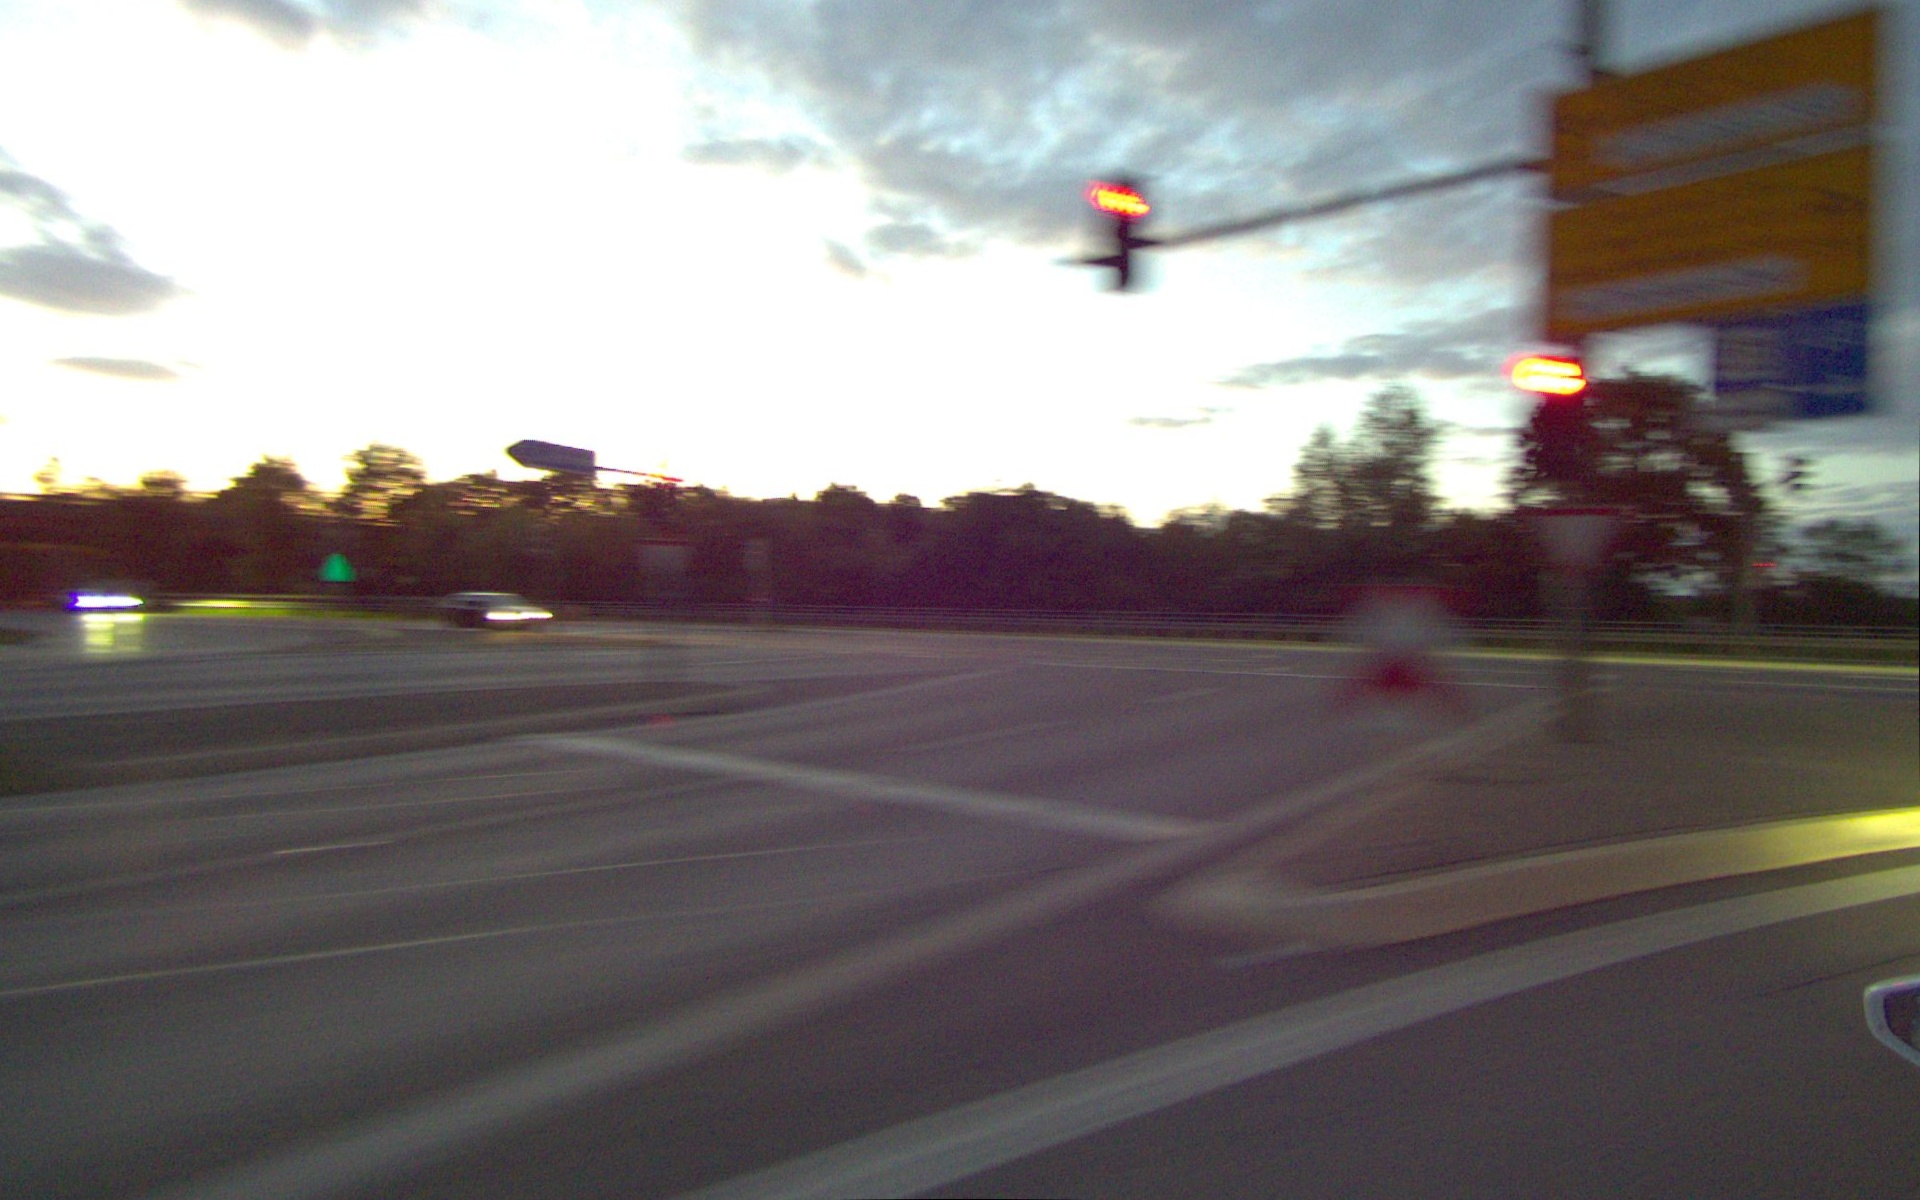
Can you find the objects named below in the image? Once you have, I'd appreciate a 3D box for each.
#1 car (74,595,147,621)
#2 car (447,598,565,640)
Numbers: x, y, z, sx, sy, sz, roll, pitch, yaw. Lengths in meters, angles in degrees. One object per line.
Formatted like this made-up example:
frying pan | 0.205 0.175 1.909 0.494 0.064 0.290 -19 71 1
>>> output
car | -51.015 0.461 60.313 4.651 1.472 1.996 1 0 31
car | -16.916 0.714 37.452 3.926 1.472 1.998 0 -2 28
